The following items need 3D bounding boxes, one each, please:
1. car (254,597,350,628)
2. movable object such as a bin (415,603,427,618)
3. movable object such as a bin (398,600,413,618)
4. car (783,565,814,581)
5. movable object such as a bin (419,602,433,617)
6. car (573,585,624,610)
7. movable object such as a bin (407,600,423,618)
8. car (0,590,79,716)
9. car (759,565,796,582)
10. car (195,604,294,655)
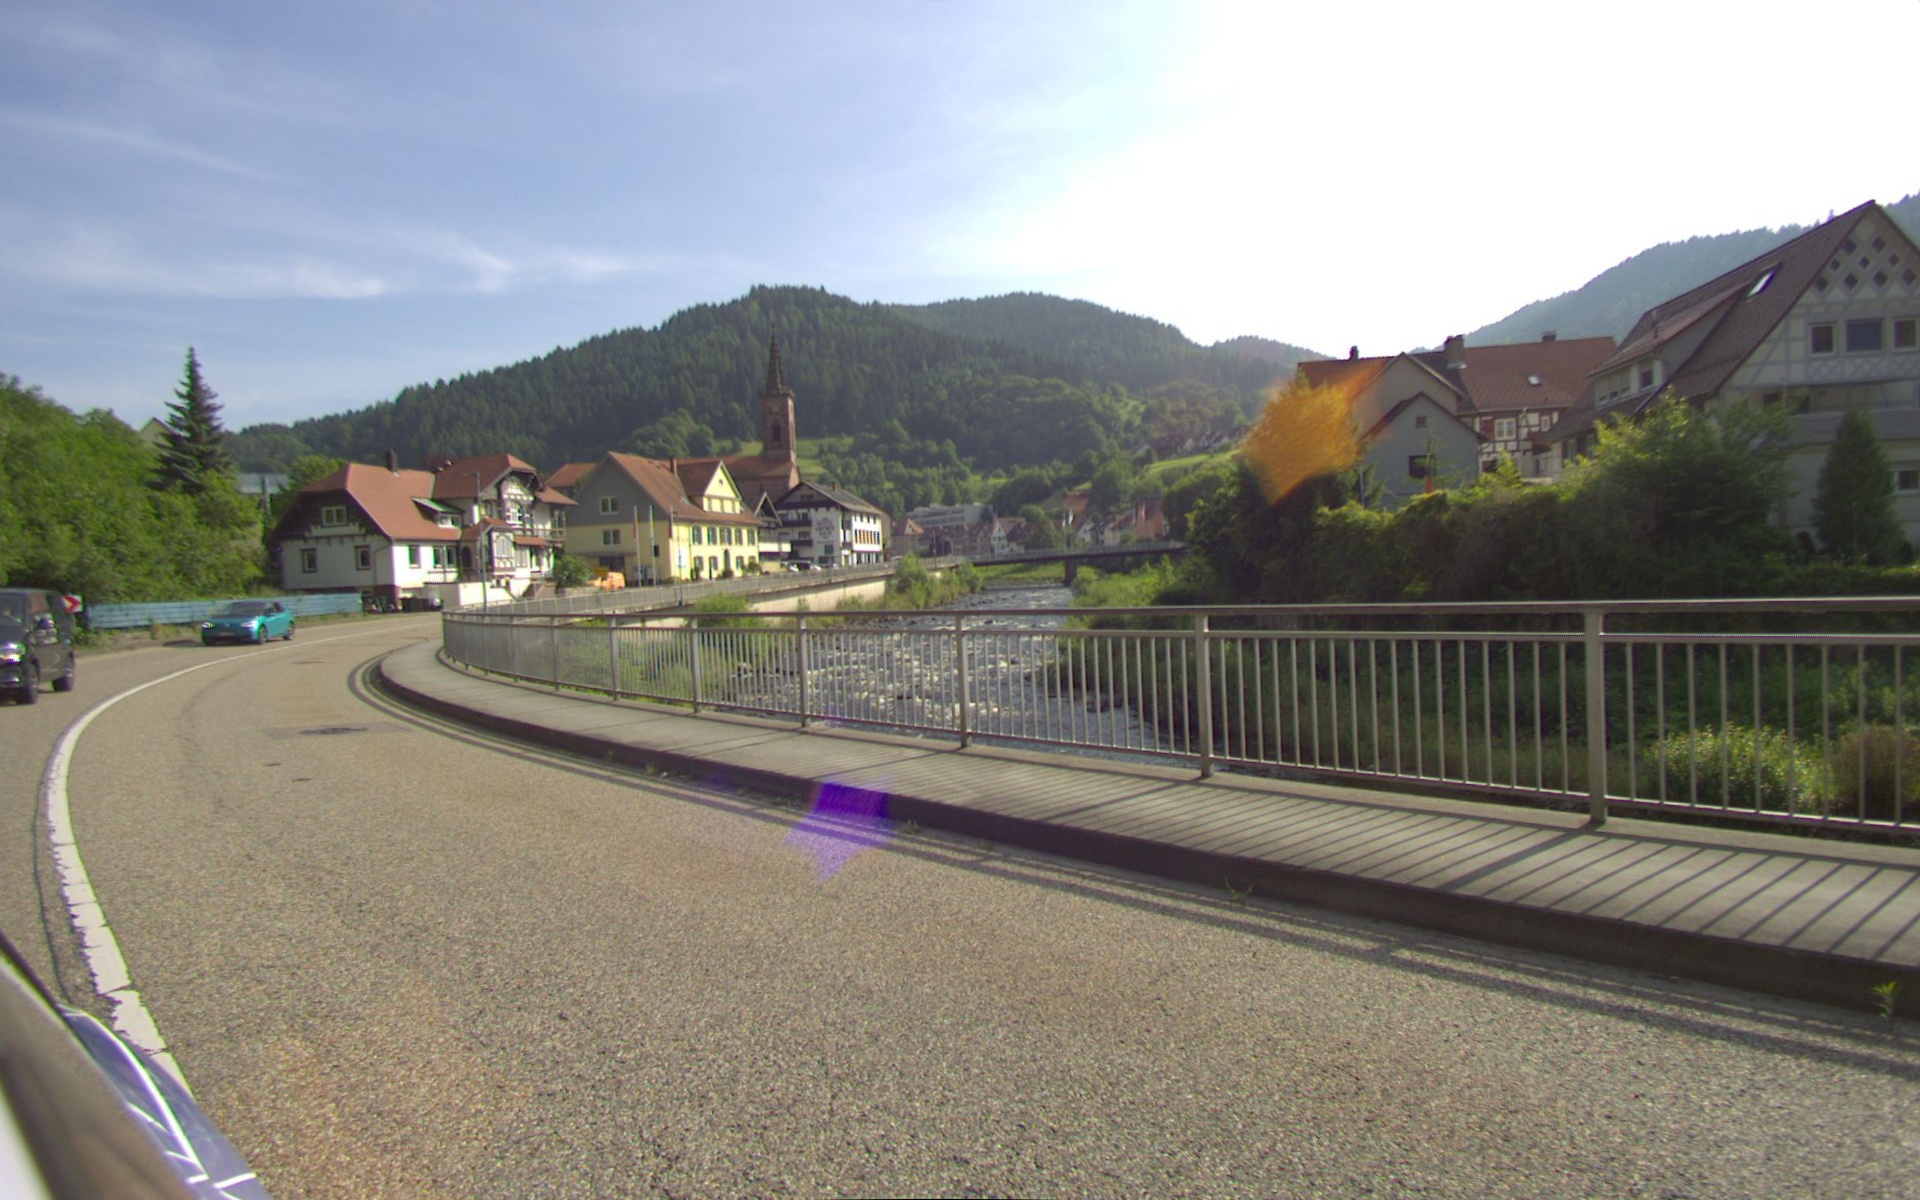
[{"bbox_3d":[-36.381,0.693,56.077,4.255,1.480,1.843,-3,1,-28],"label":"car"},{"bbox_3d":[-34.038,0.634,63.929,0.364,0.906,0.547,-3,2,1],"label":"movable object such as a bin"},{"bbox_3d":[-35.064,0.591,63.994,0.473,1.070,0.751,-3,2,8],"label":"movable object such as a bin"},{"bbox_3d":[-20.808,-3.449,130.697,3.723,1.907,1.365,2,3,15],"label":"car"},{"bbox_3d":[-33.581,0.594,63.669,0.467,0.943,0.651,-3,2,8],"label":"movable object such as a bin"},{"bbox_3d":[-30.923,-0.254,86.703,1.895,2.012,4.817,-2,1,12],"label":"car"},{"bbox_3d":[-34.479,0.568,64.048,0.473,1.070,0.751,-3,2,8],"label":"movable object such as a bin"},{"bbox_3d":[-17.088,0.866,17.633,1.857,1.979,4.880,0,0,-32],"label":"car"},{"bbox_3d":[-23.160,-3.373,128.458,4.415,1.972,1.706,3,3,15],"label":"car"},{"bbox_3d":[-26.064,1.022,37.018,1.656,1.533,3.877,-1,3,-14],"label":"car"}]
